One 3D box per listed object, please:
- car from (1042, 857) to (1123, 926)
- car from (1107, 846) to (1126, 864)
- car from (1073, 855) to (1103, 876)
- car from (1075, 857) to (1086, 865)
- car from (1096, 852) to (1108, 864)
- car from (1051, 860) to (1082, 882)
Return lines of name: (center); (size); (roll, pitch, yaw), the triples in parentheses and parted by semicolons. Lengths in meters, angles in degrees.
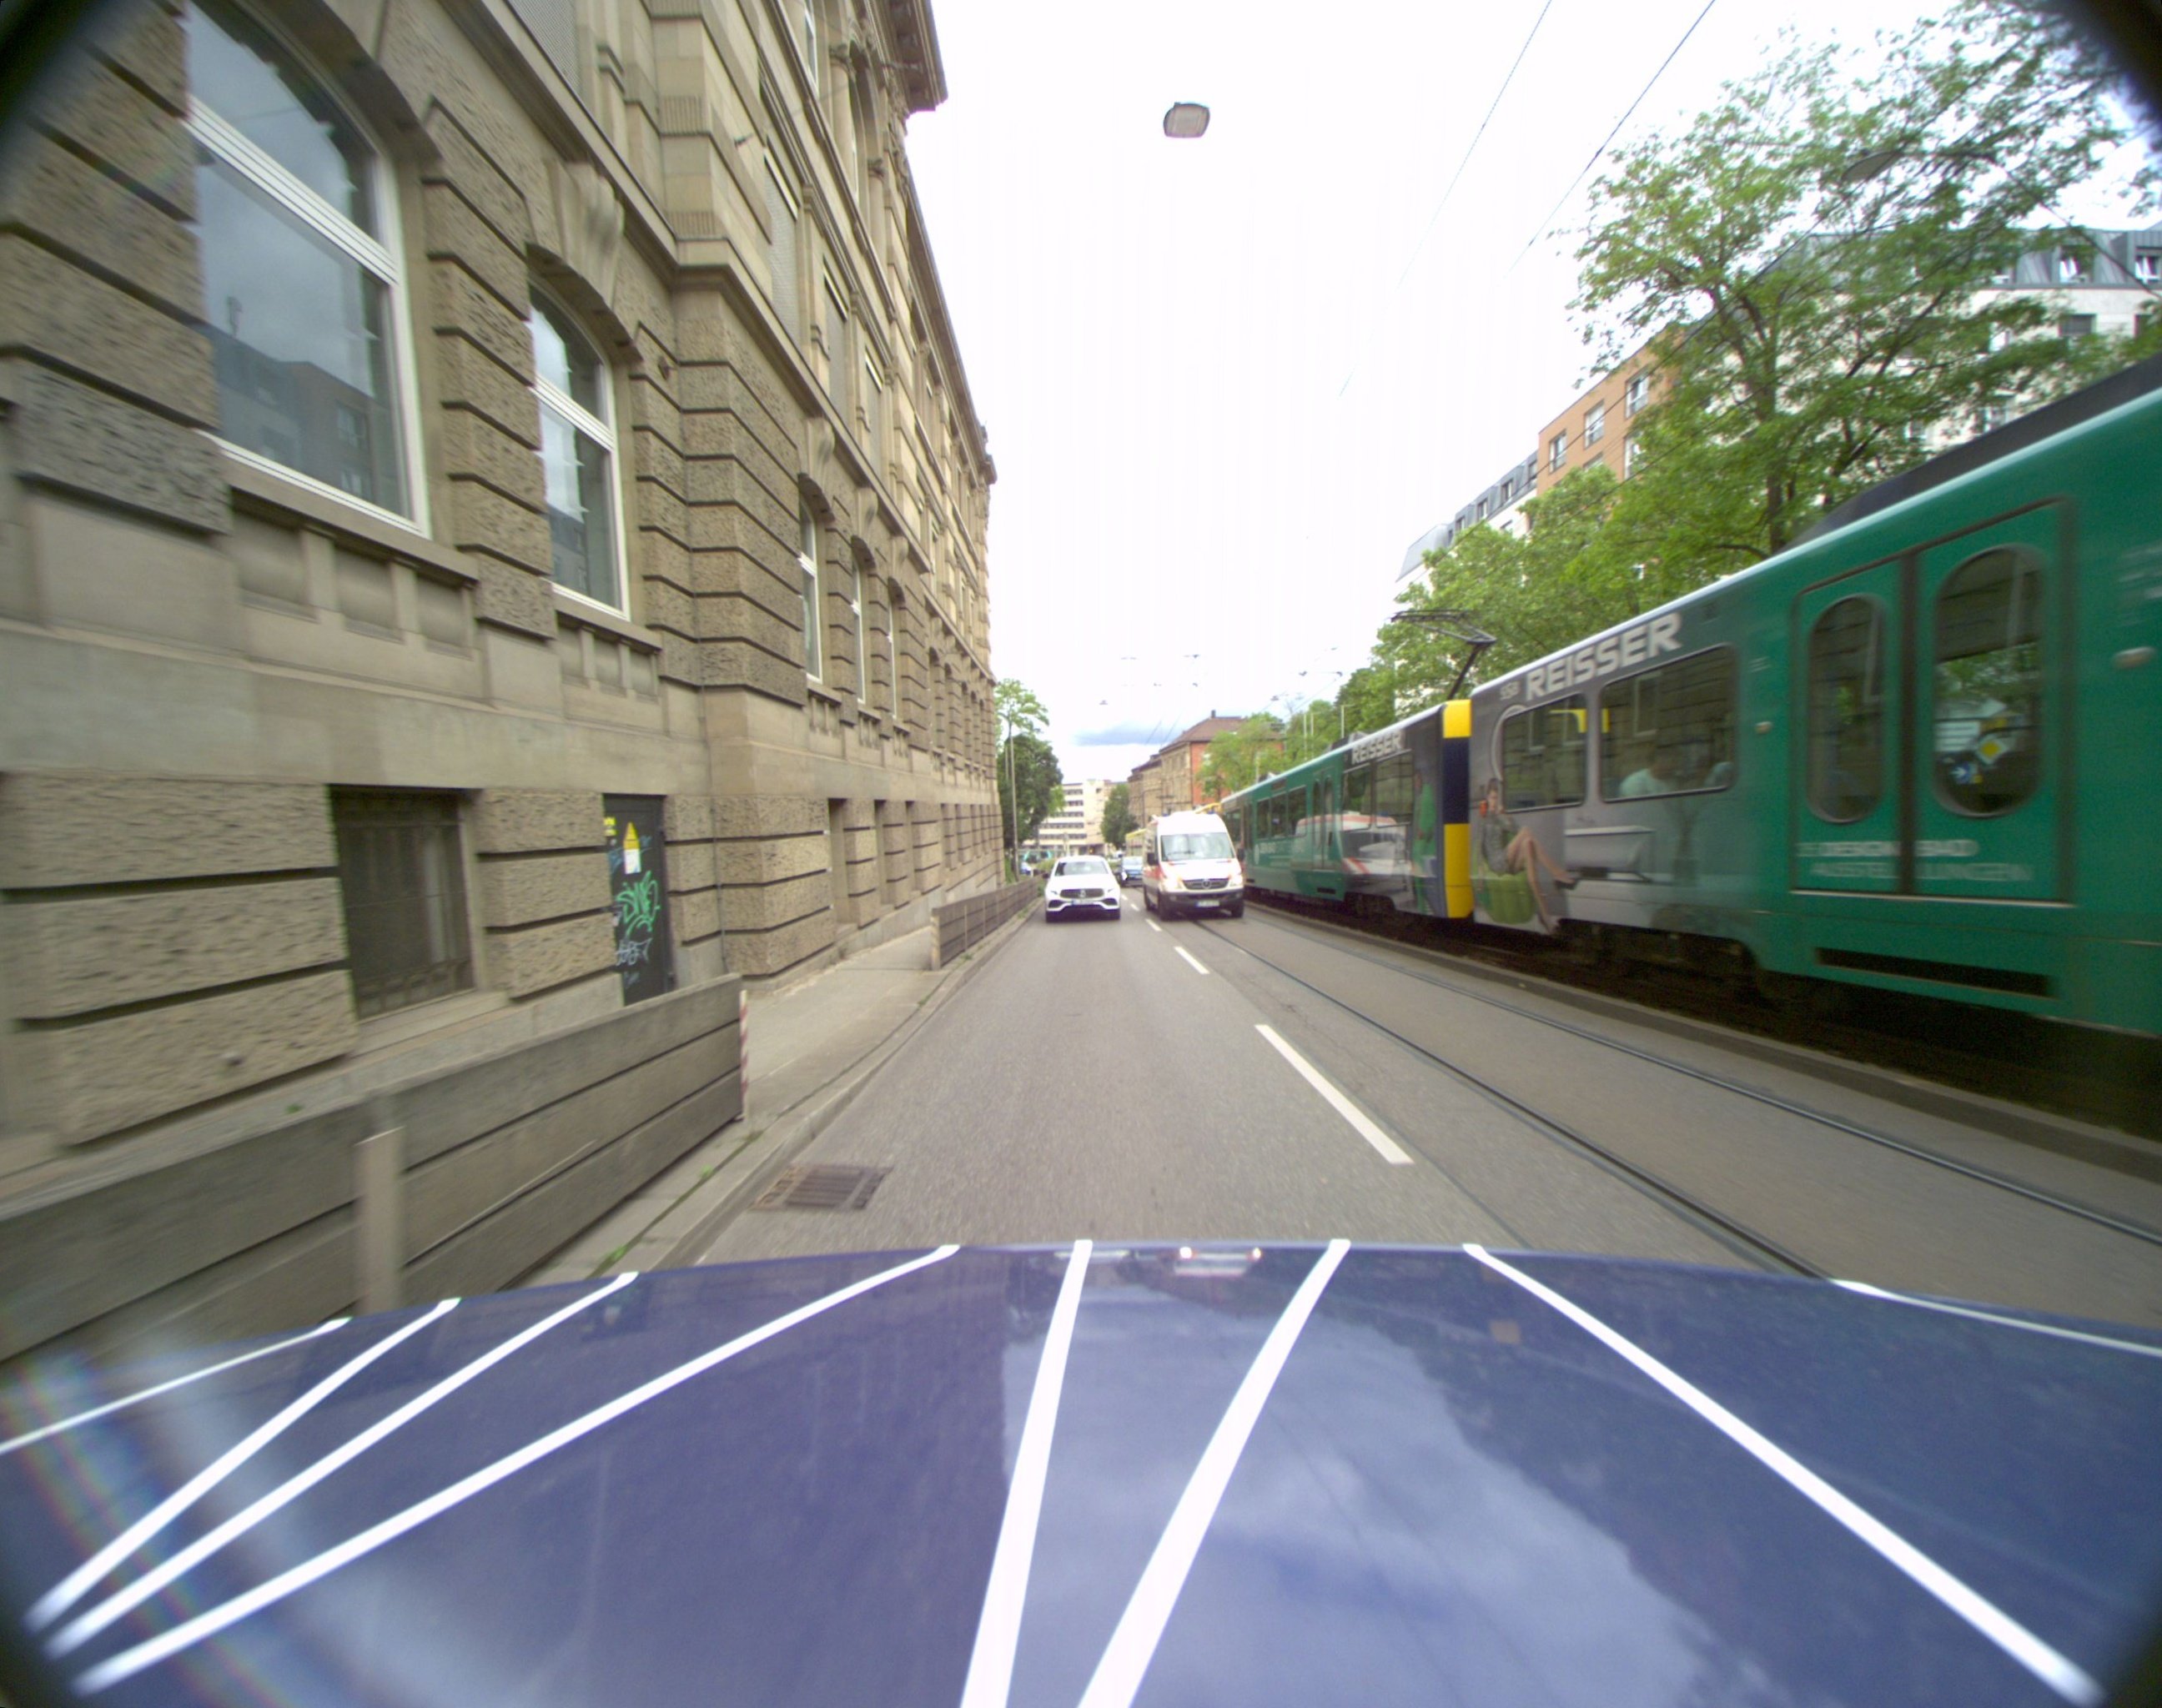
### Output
car: (0.047, 0.930, 20.649); (1.894, 1.609, 4.479); (-2, 0, 0)
car: (5.742, 0.234, 123.464); (2.215, 2.806, 4.782); (-1, 0, -6)
car: (0.551, 0.907, 61.640); (1.999, 1.543, 4.315); (-2, 0, -4)
car: (-0.061, 1.458, 158.257); (1.999, 1.574, 3.998); (-1, 0, -5)
car: (4.110, 0.791, 150.580); (1.872, 2.250, 4.747); (-2, 0, -4)
car: (-1.063, 1.216, 54.577); (1.823, 1.440, 3.851); (-1, -1, -7)
